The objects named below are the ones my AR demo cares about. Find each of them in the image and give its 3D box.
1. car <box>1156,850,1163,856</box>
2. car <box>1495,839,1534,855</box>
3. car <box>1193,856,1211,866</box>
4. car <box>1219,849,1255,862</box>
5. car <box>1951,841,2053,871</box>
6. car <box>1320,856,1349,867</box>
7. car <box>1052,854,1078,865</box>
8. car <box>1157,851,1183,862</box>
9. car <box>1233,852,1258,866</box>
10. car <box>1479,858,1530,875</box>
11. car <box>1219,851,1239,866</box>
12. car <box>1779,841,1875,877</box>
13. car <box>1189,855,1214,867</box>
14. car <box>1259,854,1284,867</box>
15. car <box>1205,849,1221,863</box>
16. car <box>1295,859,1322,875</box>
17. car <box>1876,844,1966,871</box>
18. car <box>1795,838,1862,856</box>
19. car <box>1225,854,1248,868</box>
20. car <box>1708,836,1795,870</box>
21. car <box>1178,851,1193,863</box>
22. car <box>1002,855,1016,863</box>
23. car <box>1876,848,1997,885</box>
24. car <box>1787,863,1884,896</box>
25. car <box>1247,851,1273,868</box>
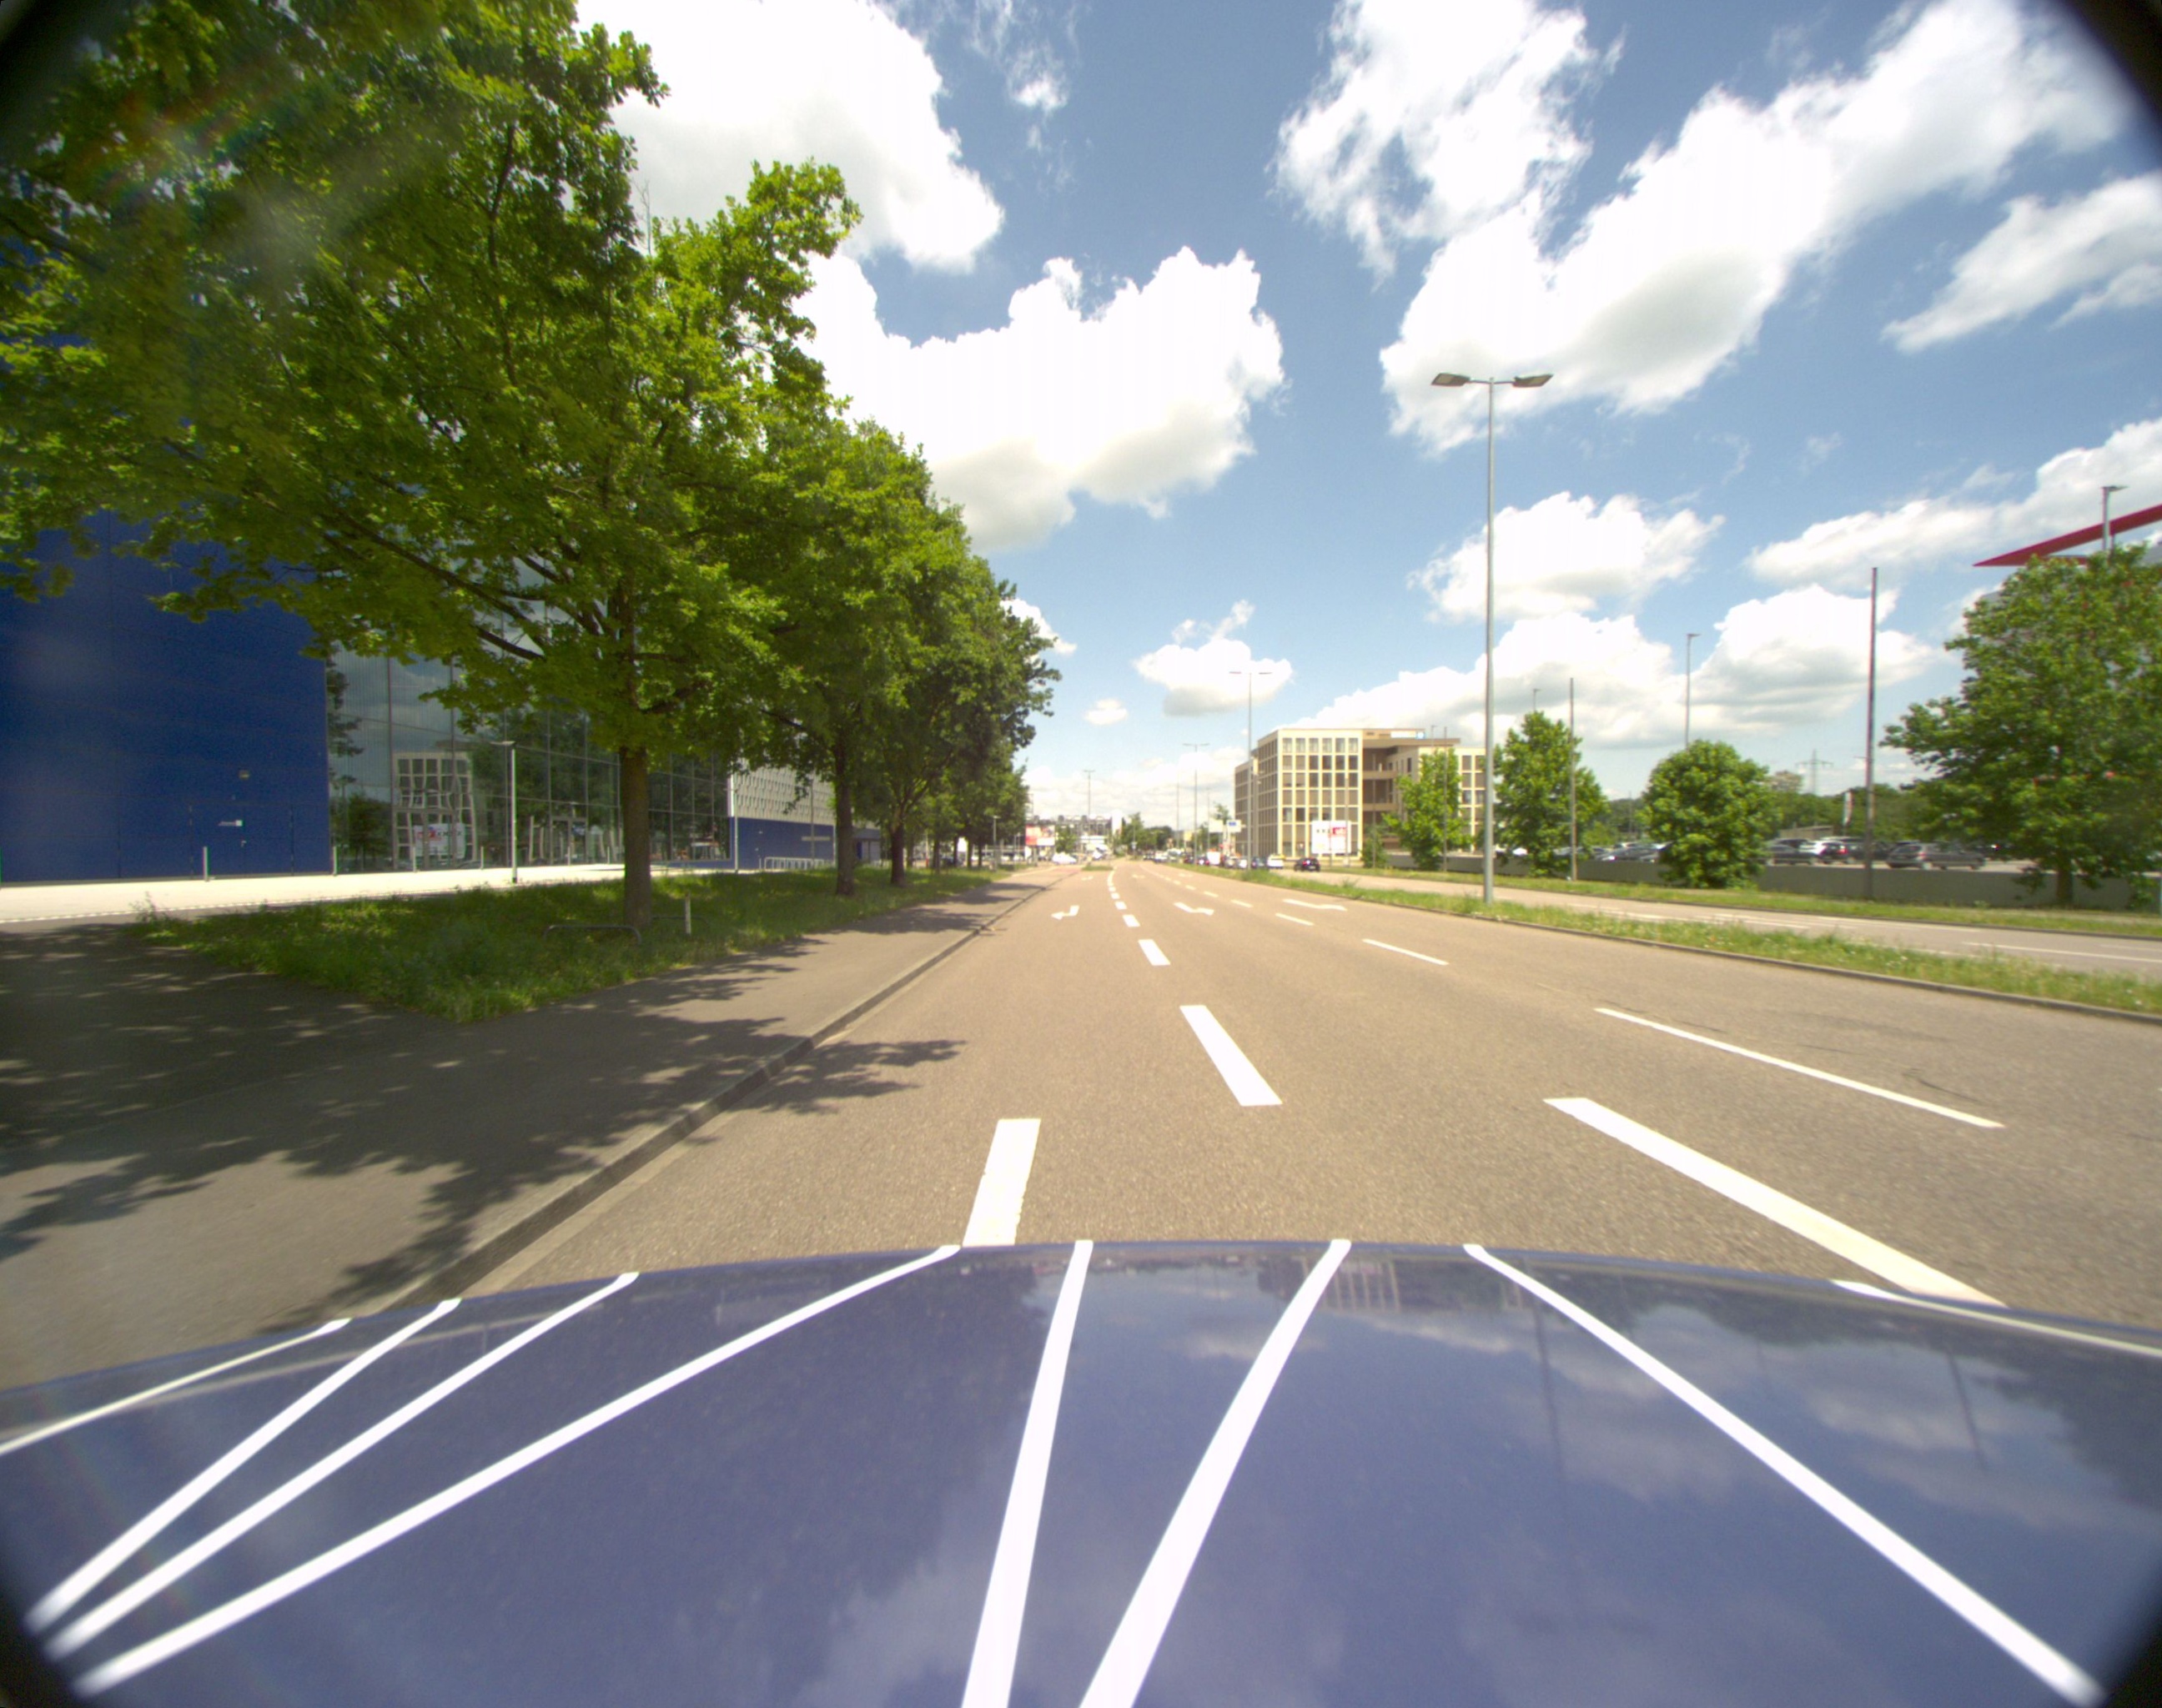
[{"bbox_3d":[24.710,-0.346,239.226,2.289,1.708,4.483,0,1,4],"label":"car"},{"bbox_3d":[51.131,-0.771,89.722,1.854,1.822,4.674,0,0,0],"label":"car"},{"bbox_3d":[14.985,0.890,94.367,1.796,1.243,4.308,0,0,3],"label":"car"},{"bbox_3d":[30.392,0.332,148.086,6.519,2.314,2.859,0,-2,22],"label":"car"},{"bbox_3d":[61.681,0.117,50.924,4.359,1.978,2.000,0,1,0],"label":"car"},{"bbox_3d":[42.345,1.284,127.006,4.189,1.718,1.862,-1,2,-1],"label":"car"},{"bbox_3d":[-2.498,0.931,120.704,3.999,1.681,1.857,0,0,-5],"label":"car"},{"bbox_3d":[13.981,0.413,119.477,3.996,1.681,1.859,0,0,3],"label":"car"},{"bbox_3d":[17.058,0.521,79.042,1.796,1.409,4.675,0,0,2],"label":"car"},{"bbox_3d":[42.508,1.253,76.333,3.996,1.586,1.919,0,0,3],"label":"car"},{"bbox_3d":[17.990,0.542,92.377,1.796,1.691,4.228,0,0,3],"label":"car"},{"bbox_3d":[49.441,0.336,50.433,4.359,2.315,2.000,0,1,0],"label":"car"},{"bbox_3d":[15.913,0.977,100.479,1.799,1.551,3.765,0,0,-16],"label":"car"},{"bbox_3d":[22.568,0.786,89.946,1.624,1.464,4.357,0,0,-3],"label":"car"},{"bbox_3d":[18.484,0.291,106.262,1.861,2.031,3.578,0,0,4],"label":"car"},{"bbox_3d":[22.209,1.272,74.252,1.623,1.461,4.118,0,0,4],"label":"car"},{"bbox_3d":[61.987,0.249,56.118,4.359,1.978,2.000,0,1,0],"label":"car"},{"bbox_3d":[62.480,-0.568,63.573,3.829,1.461,1.681,0,0,3],"label":"car"},{"bbox_3d":[17.429,0.788,85.560,1.796,1.393,4.846,1,0,3],"label":"car"},{"bbox_3d":[47.193,-0.072,53.549,4.359,2.315,2.000,0,1,0],"label":"car"},{"bbox_3d":[14.671,0.381,106.477,1.795,1.635,4.172,0,0,4],"label":"car"},{"bbox_3d":[-13.758,0.932,146.018,1.840,1.565,4.003,0,0,8],"label":"car"},{"bbox_3d":[46.738,0.691,41.574,4.359,1.977,2.000,0,-1,0],"label":"car"},{"bbox_3d":[46.871,1.556,47.258,3.997,2.002,2.000,0,0,0],"label":"car"},{"bbox_3d":[16.527,0.522,70.326,1.742,1.466,3.677,0,1,5],"label":"car"}]
